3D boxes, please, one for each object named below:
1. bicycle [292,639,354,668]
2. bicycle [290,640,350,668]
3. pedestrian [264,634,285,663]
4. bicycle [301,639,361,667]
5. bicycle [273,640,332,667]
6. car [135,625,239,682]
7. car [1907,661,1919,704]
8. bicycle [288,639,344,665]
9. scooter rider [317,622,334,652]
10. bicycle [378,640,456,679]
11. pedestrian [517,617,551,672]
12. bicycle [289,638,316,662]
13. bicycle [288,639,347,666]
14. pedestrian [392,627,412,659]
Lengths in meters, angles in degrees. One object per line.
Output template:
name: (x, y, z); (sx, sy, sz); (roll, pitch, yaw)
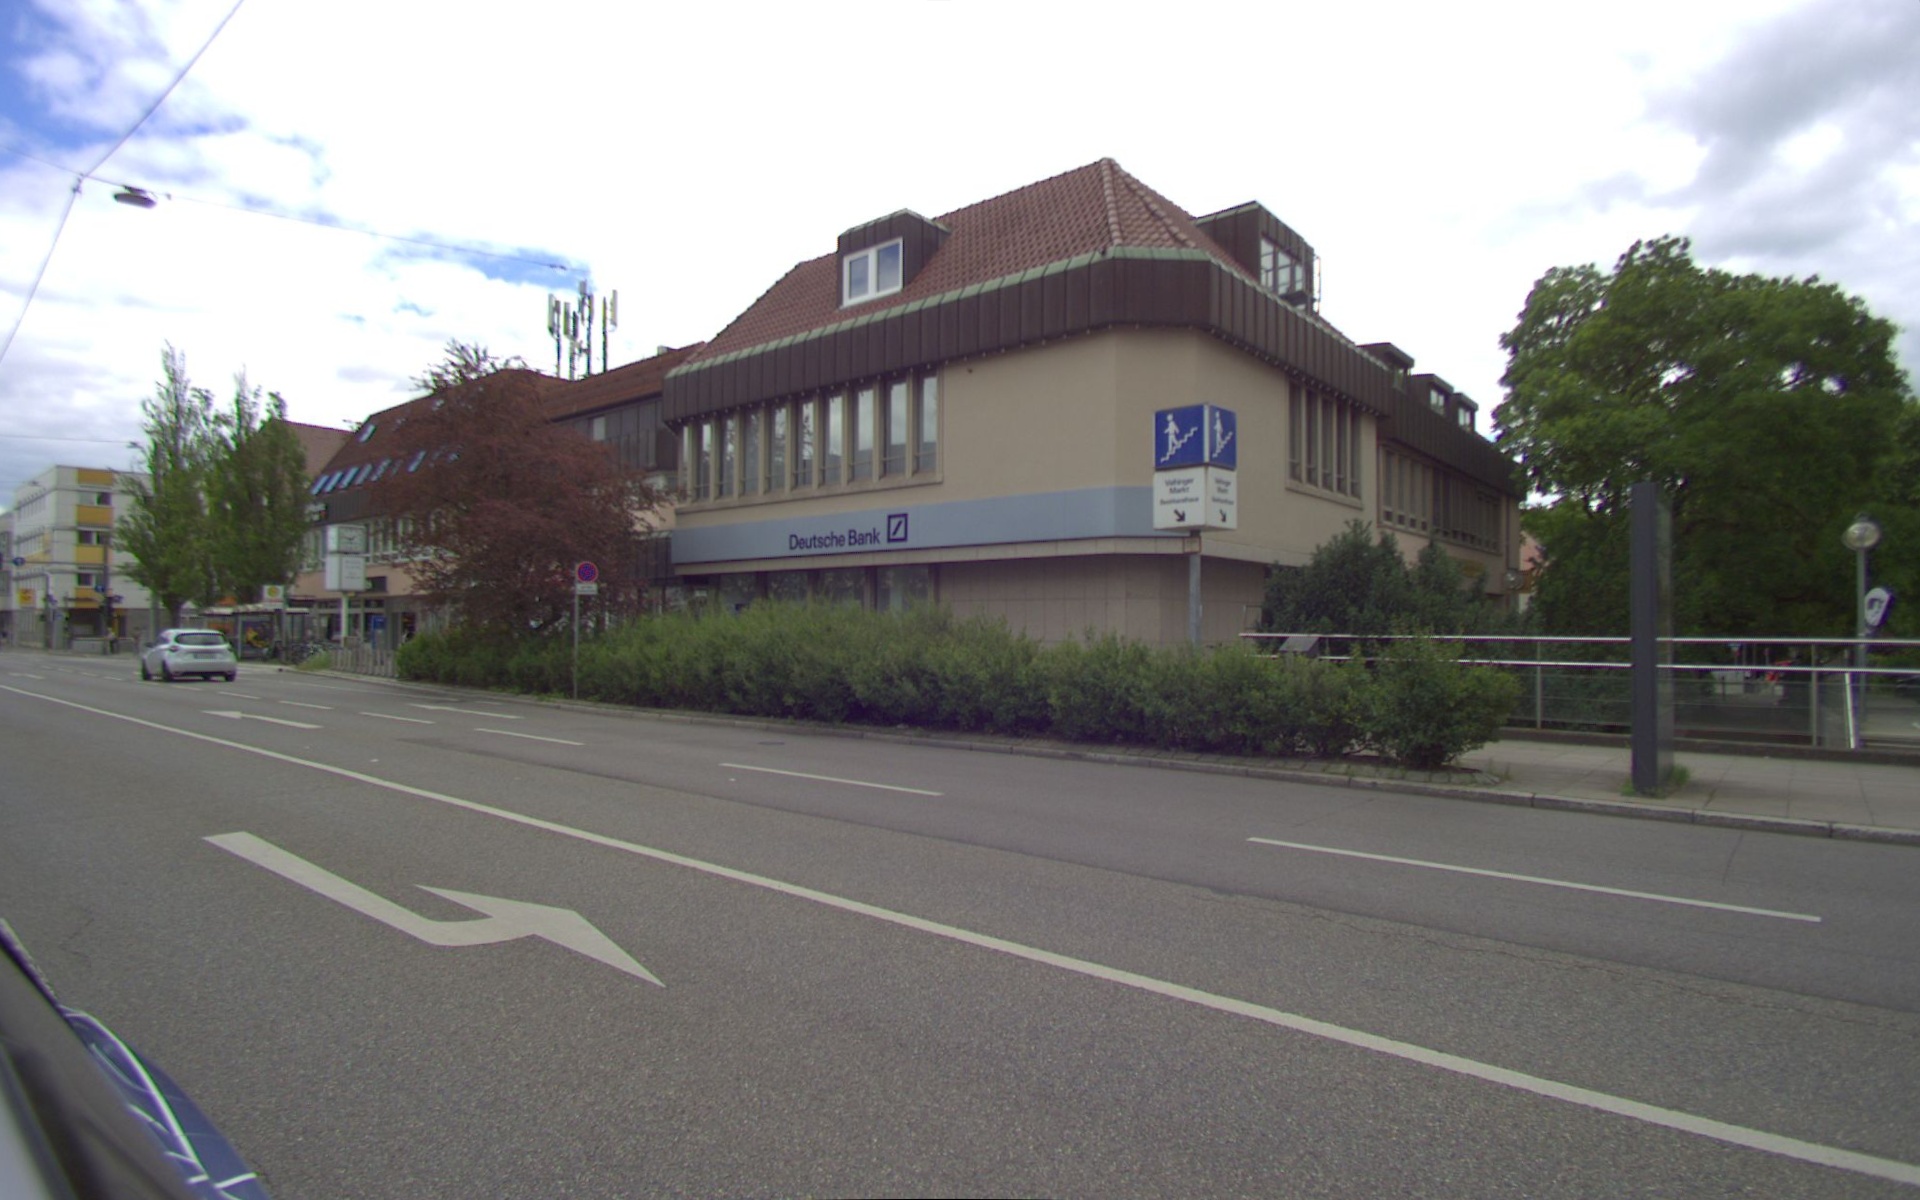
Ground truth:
bicycle: (-25.289, 2.129, 40.221); (0.646, 1.098, 2.003); (-1, -2, 31)
bicycle: (-26.247, 2.185, 41.540); (0.646, 1.098, 2.003); (-1, -2, 31)
pedestrian: (-32.767, 2.328, 48.384); (0.588, 1.374, 0.704); (-3, -2, 42)
bicycle: (-25.606, 2.141, 41.226); (0.646, 1.098, 2.003); (-1, -2, 31)
bicycle: (-27.942, 2.243, 43.037); (0.647, 1.098, 2.000); (-2, -2, 35)
car: (-23.037, 1.574, 30.118); (3.924, 1.580, 1.623); (-2, -5, 41)
car: (35.997, 2.964, 35.817); (3.505, 1.535, 1.600); (-2, -3, 41)
bicycle: (-28.137, 2.262, 44.245); (0.645, 1.098, 2.006); (-1, -1, 26)
scooter rider: (-37.094, 2.175, 59.169); (0.587, 1.725, 0.607); (-2, 0, 37)
bicycle: (-16.169, 1.743, 30.170); (0.646, 1.098, 2.003); (-1, -2, 31)
pedestrian: (-14.385, 1.500, 34.145); (0.756, 1.777, 0.717); (-2, 1, 45)
bicycle: (-31.356, 2.370, 48.243); (1.928, 1.098, 0.528); (-2, -2, 39)
bicycle: (-26.990, 2.189, 42.534); (0.646, 1.098, 2.003); (-1, -2, 31)
pedestrian: (-27.364, 2.121, 49.629); (0.587, 1.559, 0.704); (-3, -2, 39)
